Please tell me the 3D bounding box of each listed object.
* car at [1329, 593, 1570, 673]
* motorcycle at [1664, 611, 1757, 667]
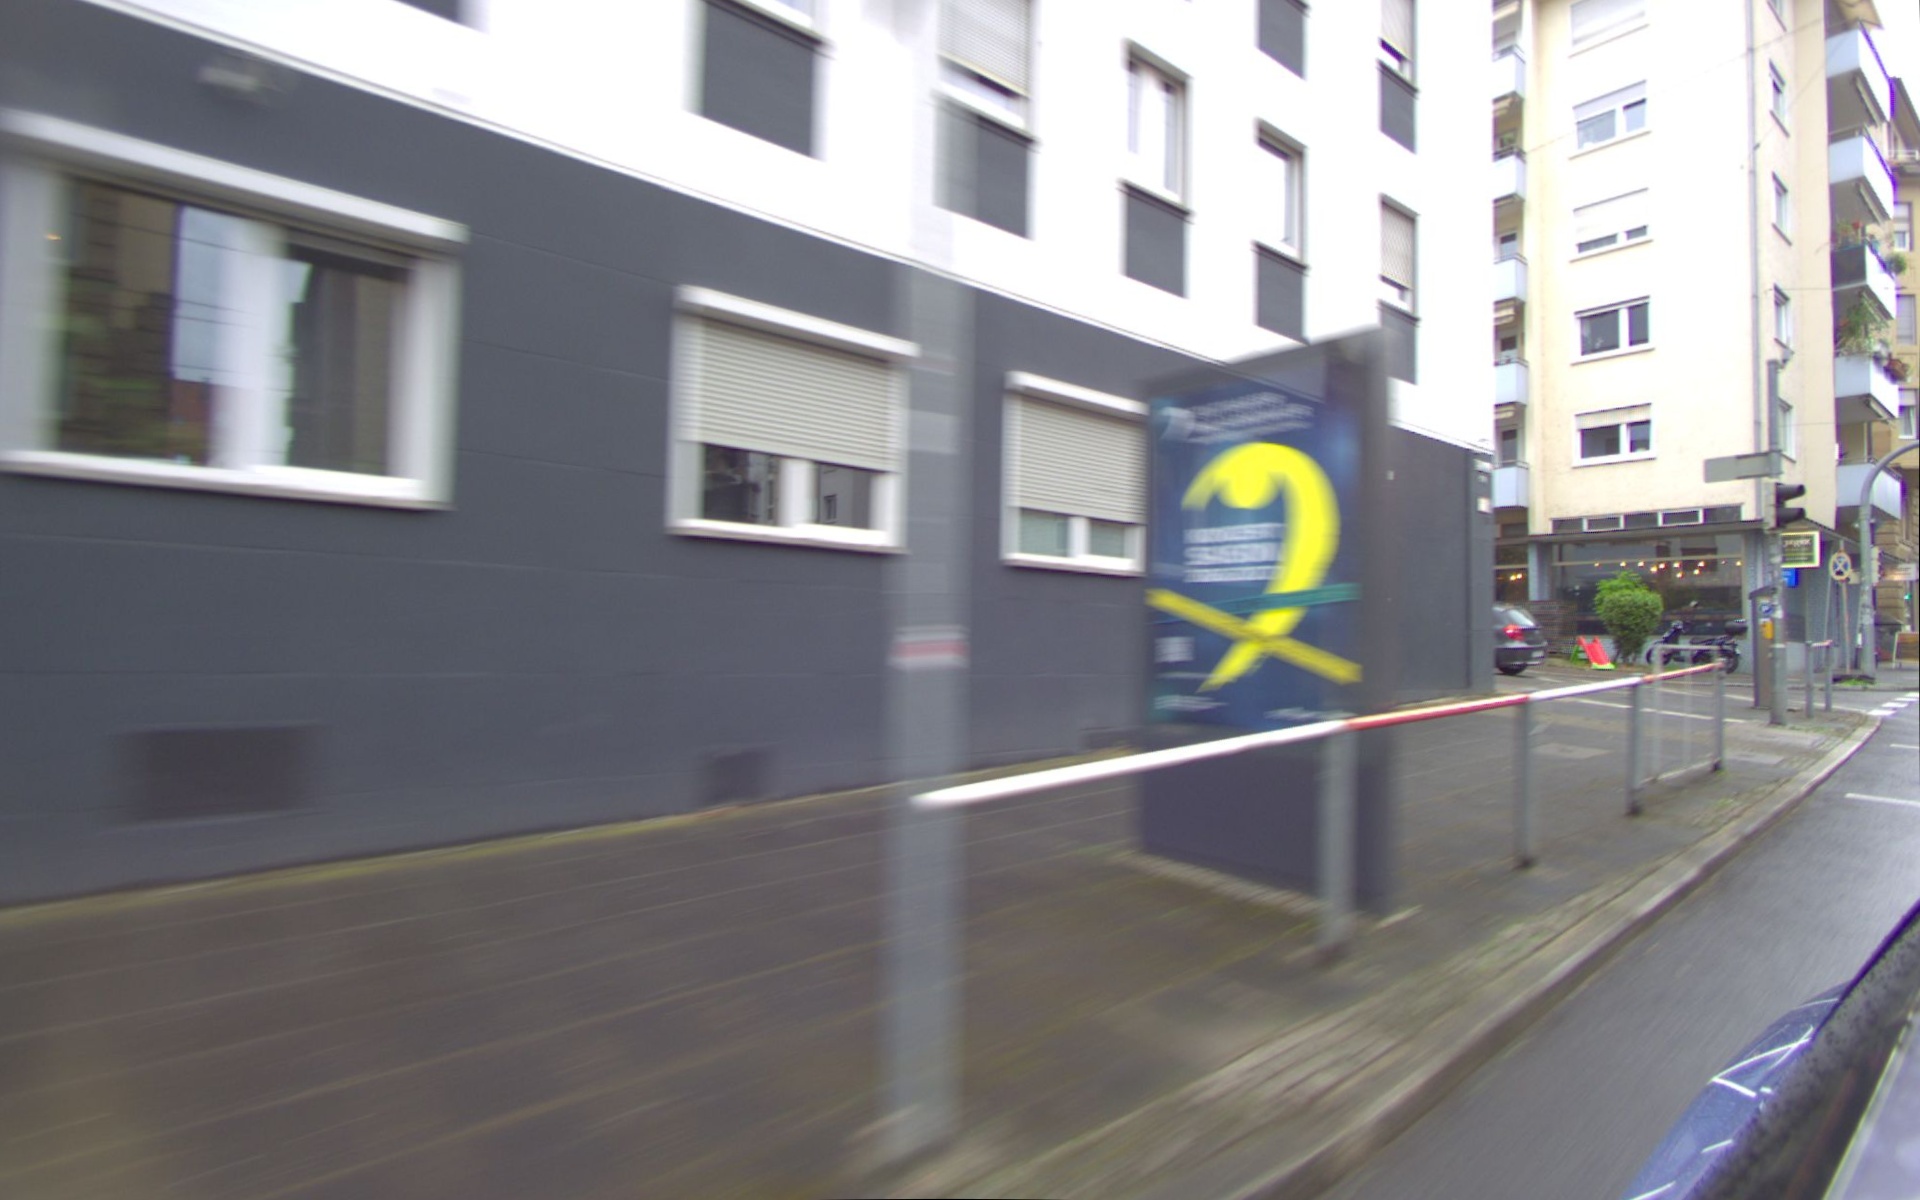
[{"bbox_3d":[9.642,0.586,20.187,1.729,1.432,3.996,1,0,-38],"label":"car"},{"bbox_3d":[17.557,0.894,23.706,0.589,1.176,1.649,-1,2,-37],"label":"motorcycle"}]
